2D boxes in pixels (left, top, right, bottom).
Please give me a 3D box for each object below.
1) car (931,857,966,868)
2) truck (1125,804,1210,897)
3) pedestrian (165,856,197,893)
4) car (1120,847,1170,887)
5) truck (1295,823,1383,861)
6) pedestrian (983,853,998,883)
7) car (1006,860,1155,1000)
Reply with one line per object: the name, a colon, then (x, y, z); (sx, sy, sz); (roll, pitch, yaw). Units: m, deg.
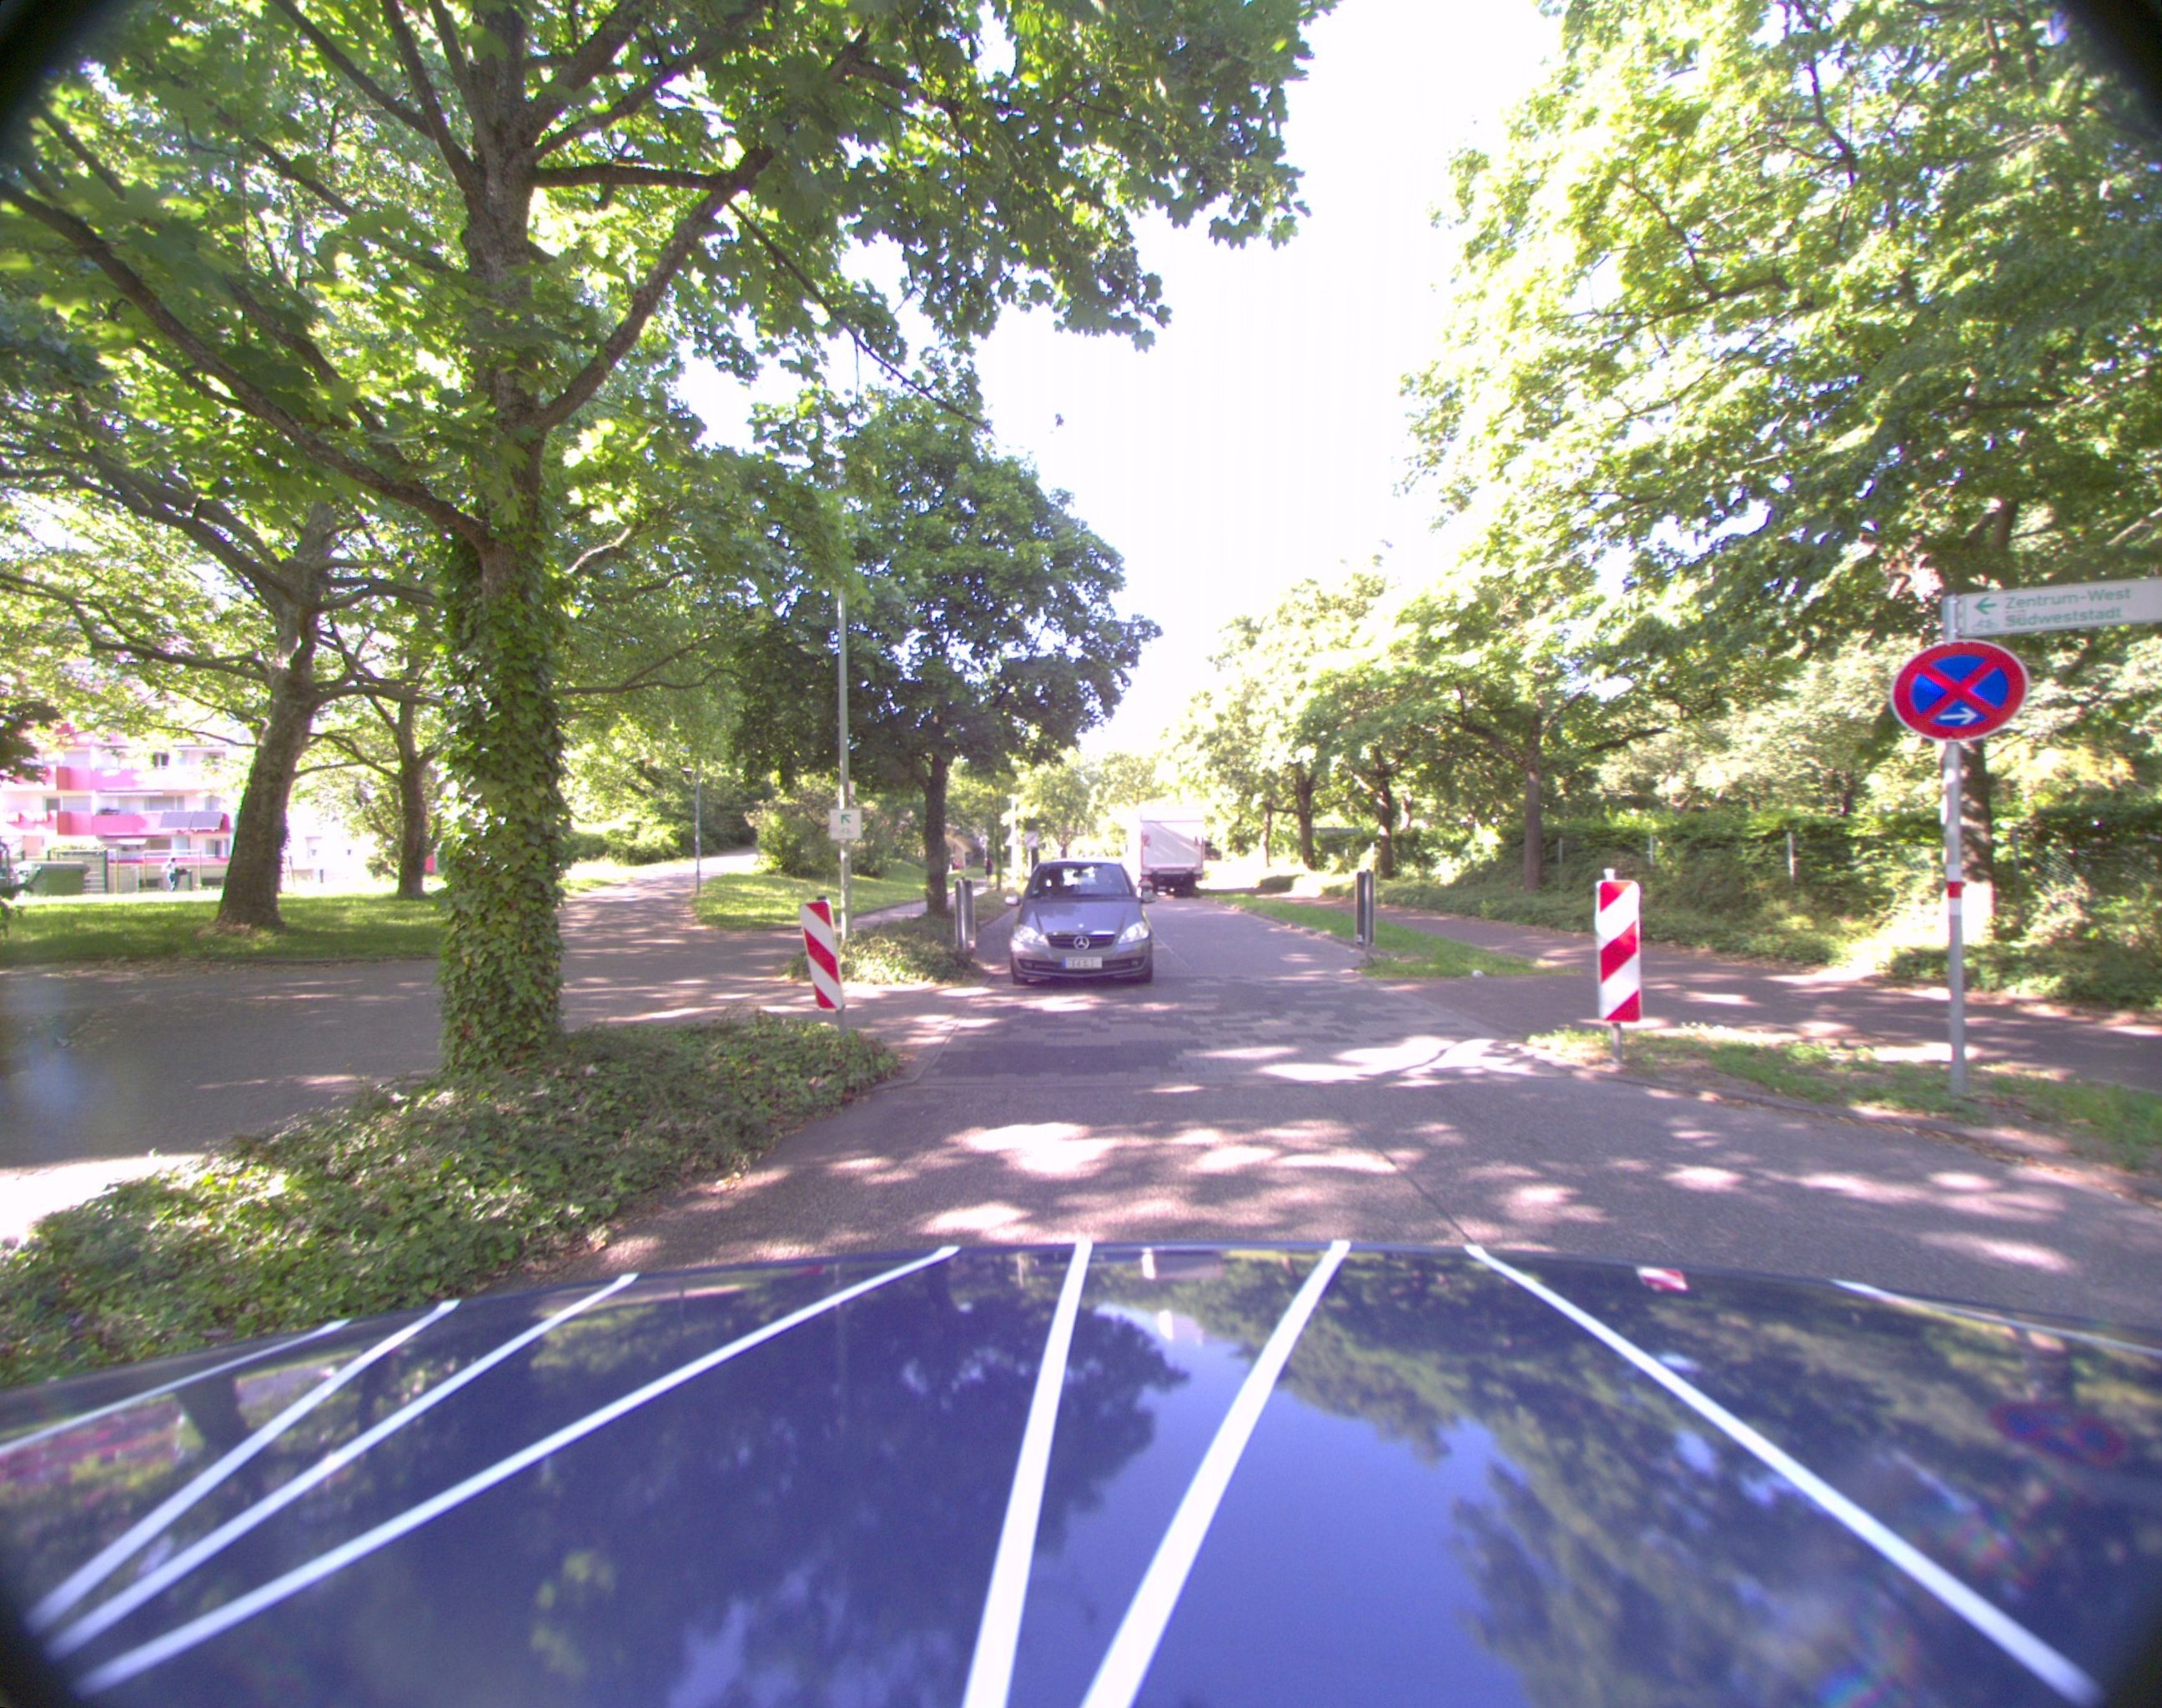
car: (-16.894, 1.092, 96.810); (4.089, 1.258, 1.758); (-3, 1, 2)
truck: (3.640, -0.143, 33.988); (2.741, 3.620, 8.100); (-1, 0, 0)
pedestrian: (-39.012, 0.883, 32.930); (0.627, 1.579, 0.679); (-3, 1, -30)
car: (3.594, 0.692, 43.826); (2.125, 2.083, 6.583); (-1, 0, -1)
truck: (13.991, -0.624, 41.352); (3.998, 2.002, 2.203); (0, 0, -2)
pedestrian: (-5.571, 0.886, 46.926); (0.793, 1.821, 0.671); (-1, 1, 0)
car: (-0.066, 0.909, 10.961); (1.734, 1.578, 3.999); (-1, 0, -2)
